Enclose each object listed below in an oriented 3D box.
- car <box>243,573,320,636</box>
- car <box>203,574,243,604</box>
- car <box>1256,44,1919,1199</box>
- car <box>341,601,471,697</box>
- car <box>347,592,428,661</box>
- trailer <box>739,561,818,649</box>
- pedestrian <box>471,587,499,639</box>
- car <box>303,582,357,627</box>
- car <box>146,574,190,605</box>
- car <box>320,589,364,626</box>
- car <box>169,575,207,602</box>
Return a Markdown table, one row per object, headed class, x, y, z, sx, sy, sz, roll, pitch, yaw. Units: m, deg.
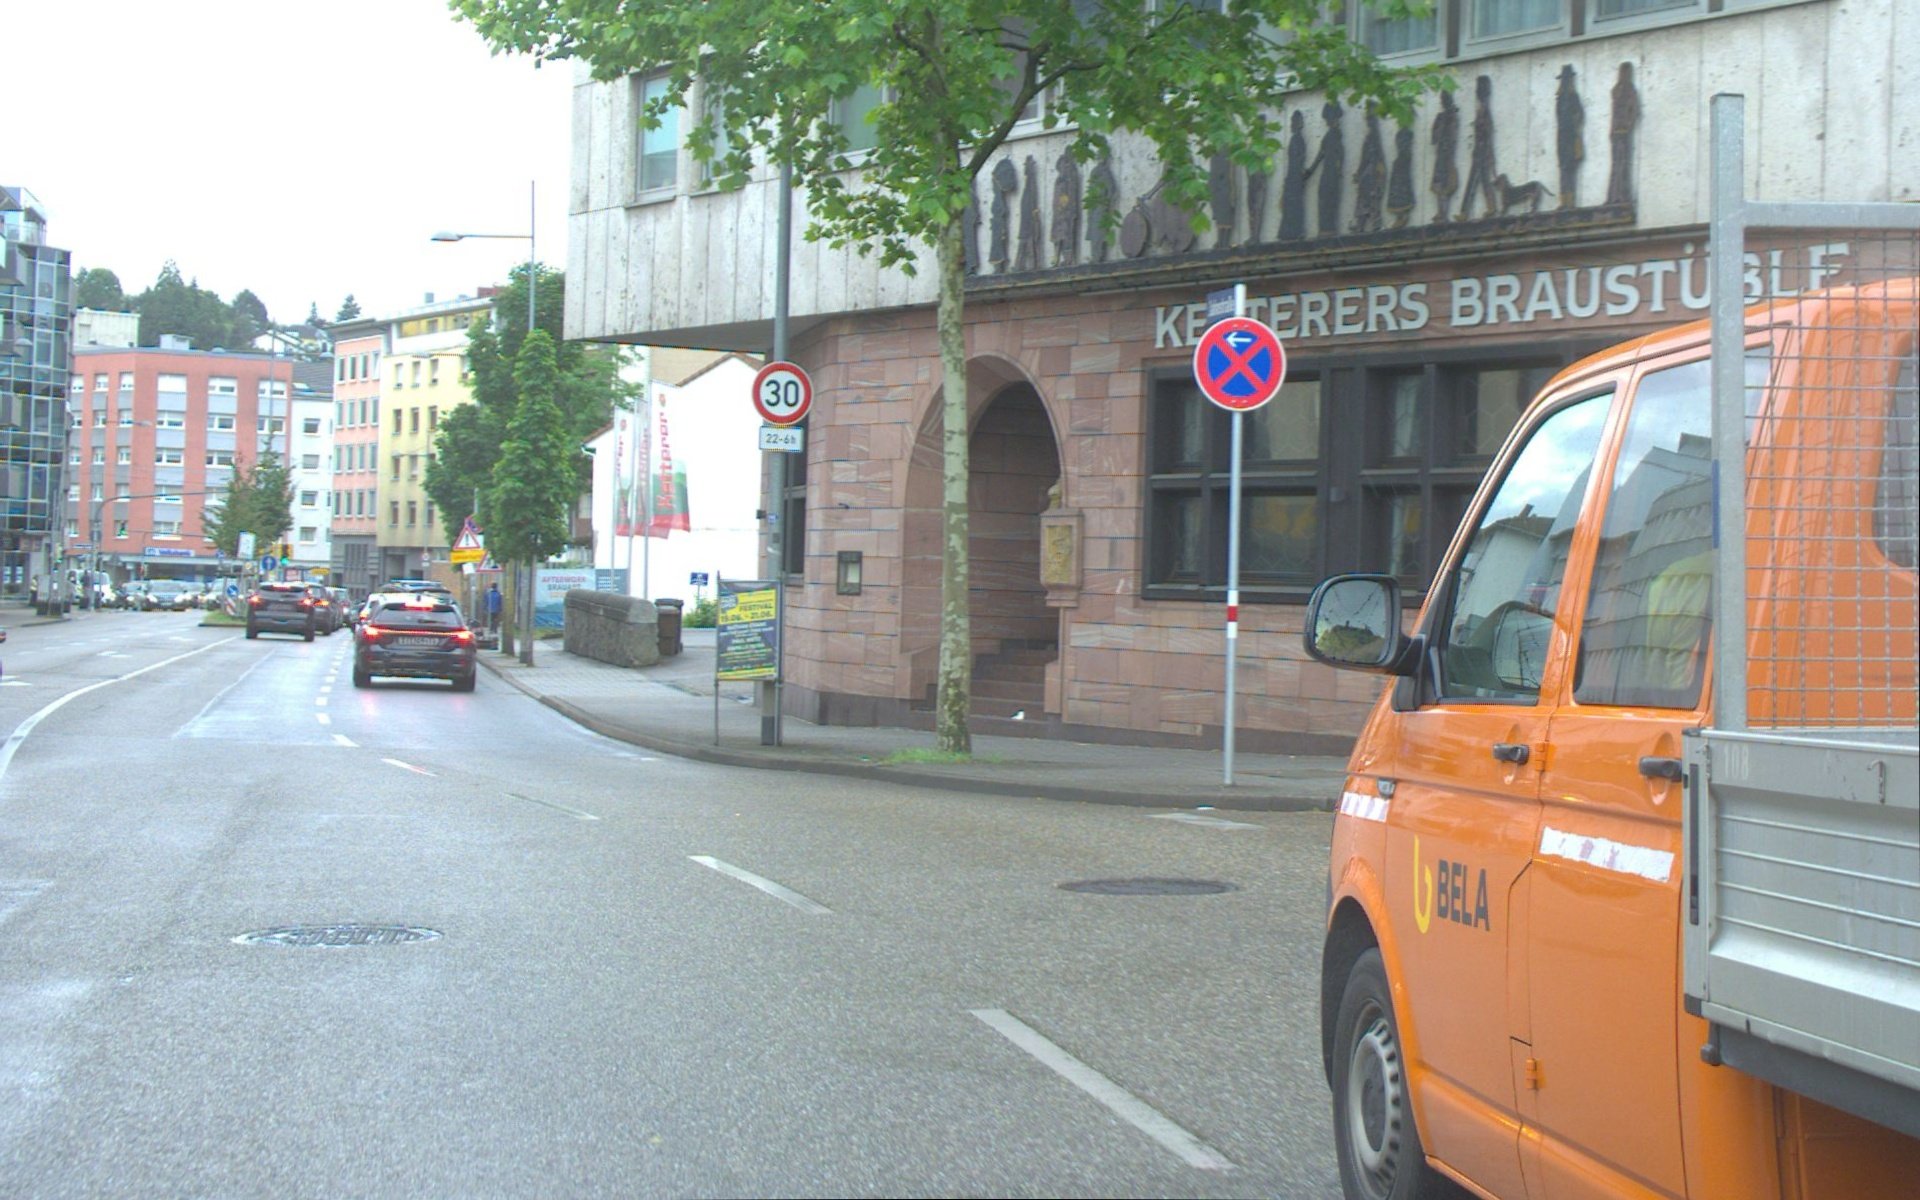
| class | x | y | z | sx | sy | sz | roll | pitch | yaw |
| --- | --- | --- | --- | --- | --- | --- | --- | --- | --- |
| car | -18.740 | 0.124 | 95.078 | 1.823 | 1.595 | 3.719 | 4 | 0 | -9 |
| car | -35.703 | -0.529 | 166.621 | 1.720 | 1.418 | 4.166 | -1 | 0 | -9 |
| car | 2.009 | 0.389 | 5.433 | 2.101 | 2.082 | 5.542 | 0 | 1 | -5 |
| car | -8.827 | 0.742 | 54.547 | 1.789 | 1.398 | 4.635 | 0 | 1 | -12 |
| car | -12.711 | 0.569 | 76.462 | 1.664 | 1.391 | 3.868 | 0 | 1 | -8 |
| trailer | -5.798 | 0.131 | 109.232 | 2.126 | 2.707 | 5.392 | -1 | 1 | -7 |
| pedestrian | -16.144 | 0.430 | 116.840 | 0.791 | 1.749 | 0.871 | 1 | 0 | 4 |
| car | -19.916 | 0.144 | 108.716 | 1.640 | 1.376 | 3.349 | 1 | 0 | -11 |
| car | -38.246 | -0.502 | 165.996 | 1.707 | 1.463 | 4.830 | -1 | 0 | -9 |
| car | -23.478 | 0.264 | 130.530 | 1.640 | 1.376 | 3.349 | 1 | 0 | -11 |
| car | -42.035 | -0.609 | 187.126 | 1.720 | 1.418 | 4.166 | -1 | 0 | -17 |
